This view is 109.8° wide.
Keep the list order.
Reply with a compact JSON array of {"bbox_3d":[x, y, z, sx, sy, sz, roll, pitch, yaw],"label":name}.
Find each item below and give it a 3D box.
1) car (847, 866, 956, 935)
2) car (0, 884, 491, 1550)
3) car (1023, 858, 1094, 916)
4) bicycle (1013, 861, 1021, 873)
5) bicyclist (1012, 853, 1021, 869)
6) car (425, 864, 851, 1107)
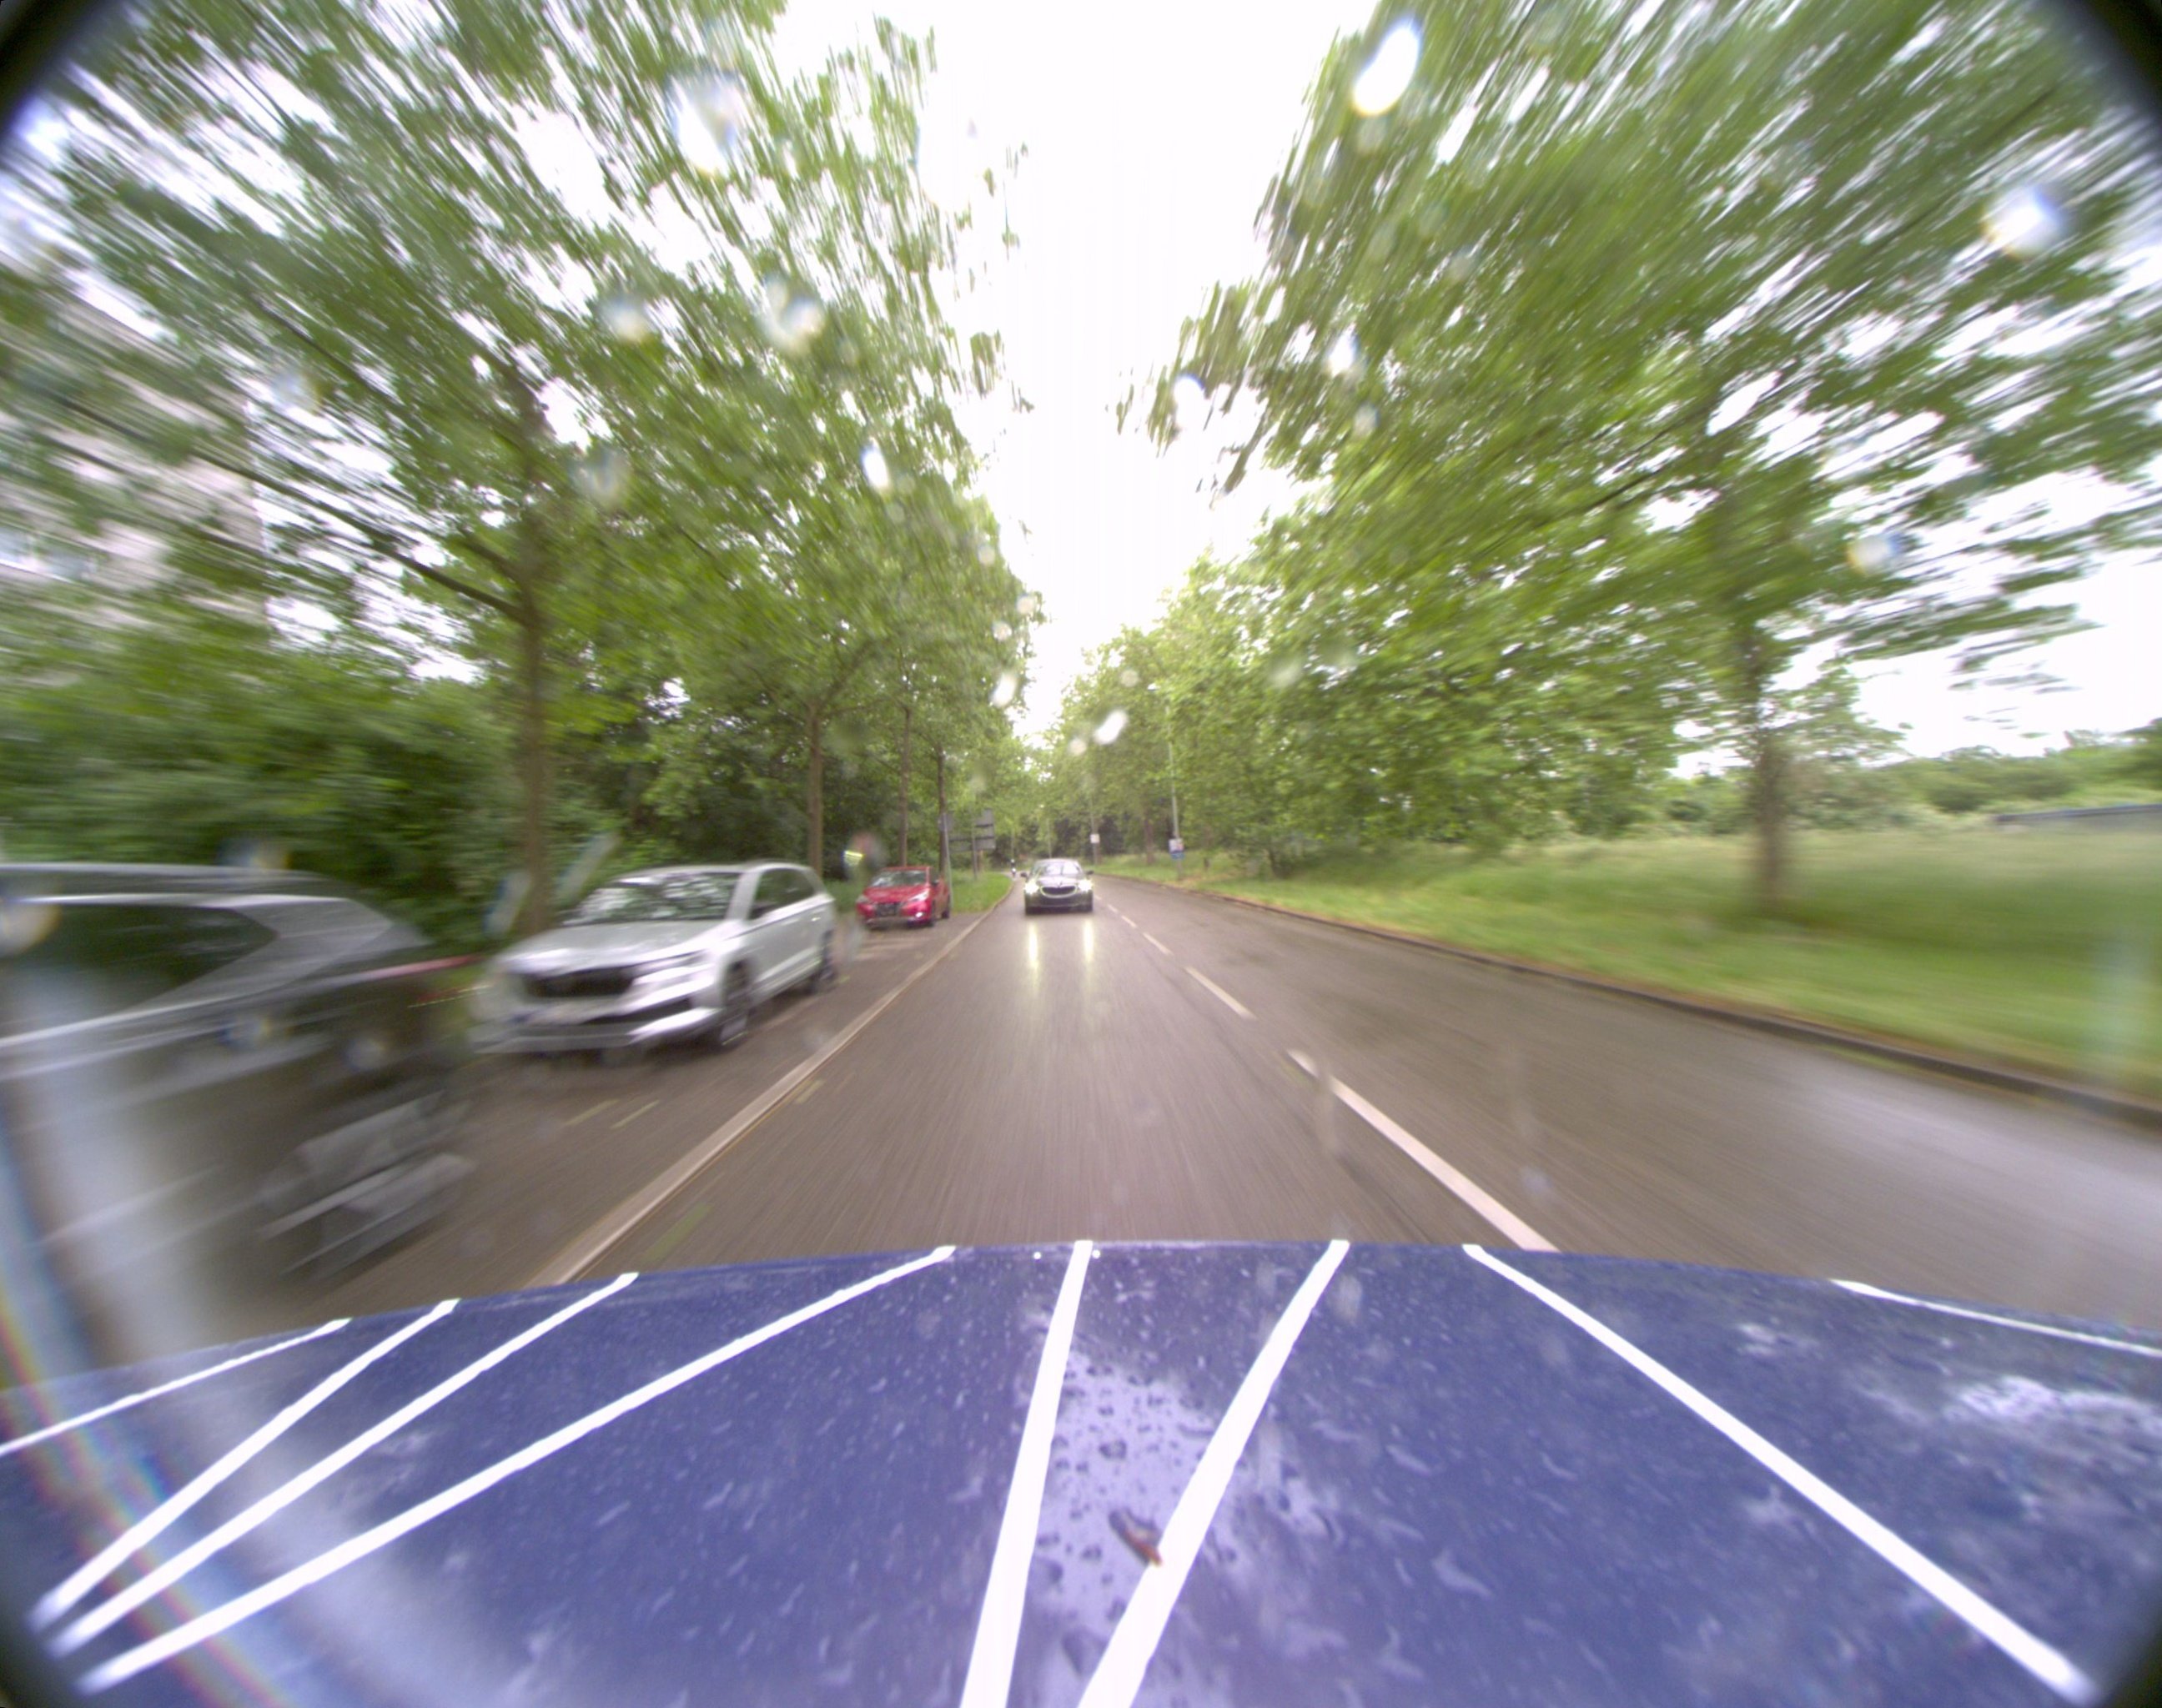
[{"bbox_3d":[-4.269,1.057,18.614,1.802,1.364,3.743,-2,1,-2],"label":"car"},{"bbox_3d":[-3.638,0.994,1.288,1.806,1.592,4.370,-3,1,-1],"label":"car"},{"bbox_3d":[-0.721,0.902,22.707,1.844,1.485,4.900,-2,-1,-3],"label":"car"},{"bbox_3d":[-6.166,1.240,73.062,0.454,1.127,1.831,-6,1,-13],"label":"bicycle"},{"bbox_3d":[-6.201,0.634,73.015,0.698,1.489,0.799,-5,1,-13],"label":"bicyclist"},{"bbox_3d":[-3.771,0.956,7.506,1.732,1.582,4.252,-2,1,-2],"label":"car"}]
